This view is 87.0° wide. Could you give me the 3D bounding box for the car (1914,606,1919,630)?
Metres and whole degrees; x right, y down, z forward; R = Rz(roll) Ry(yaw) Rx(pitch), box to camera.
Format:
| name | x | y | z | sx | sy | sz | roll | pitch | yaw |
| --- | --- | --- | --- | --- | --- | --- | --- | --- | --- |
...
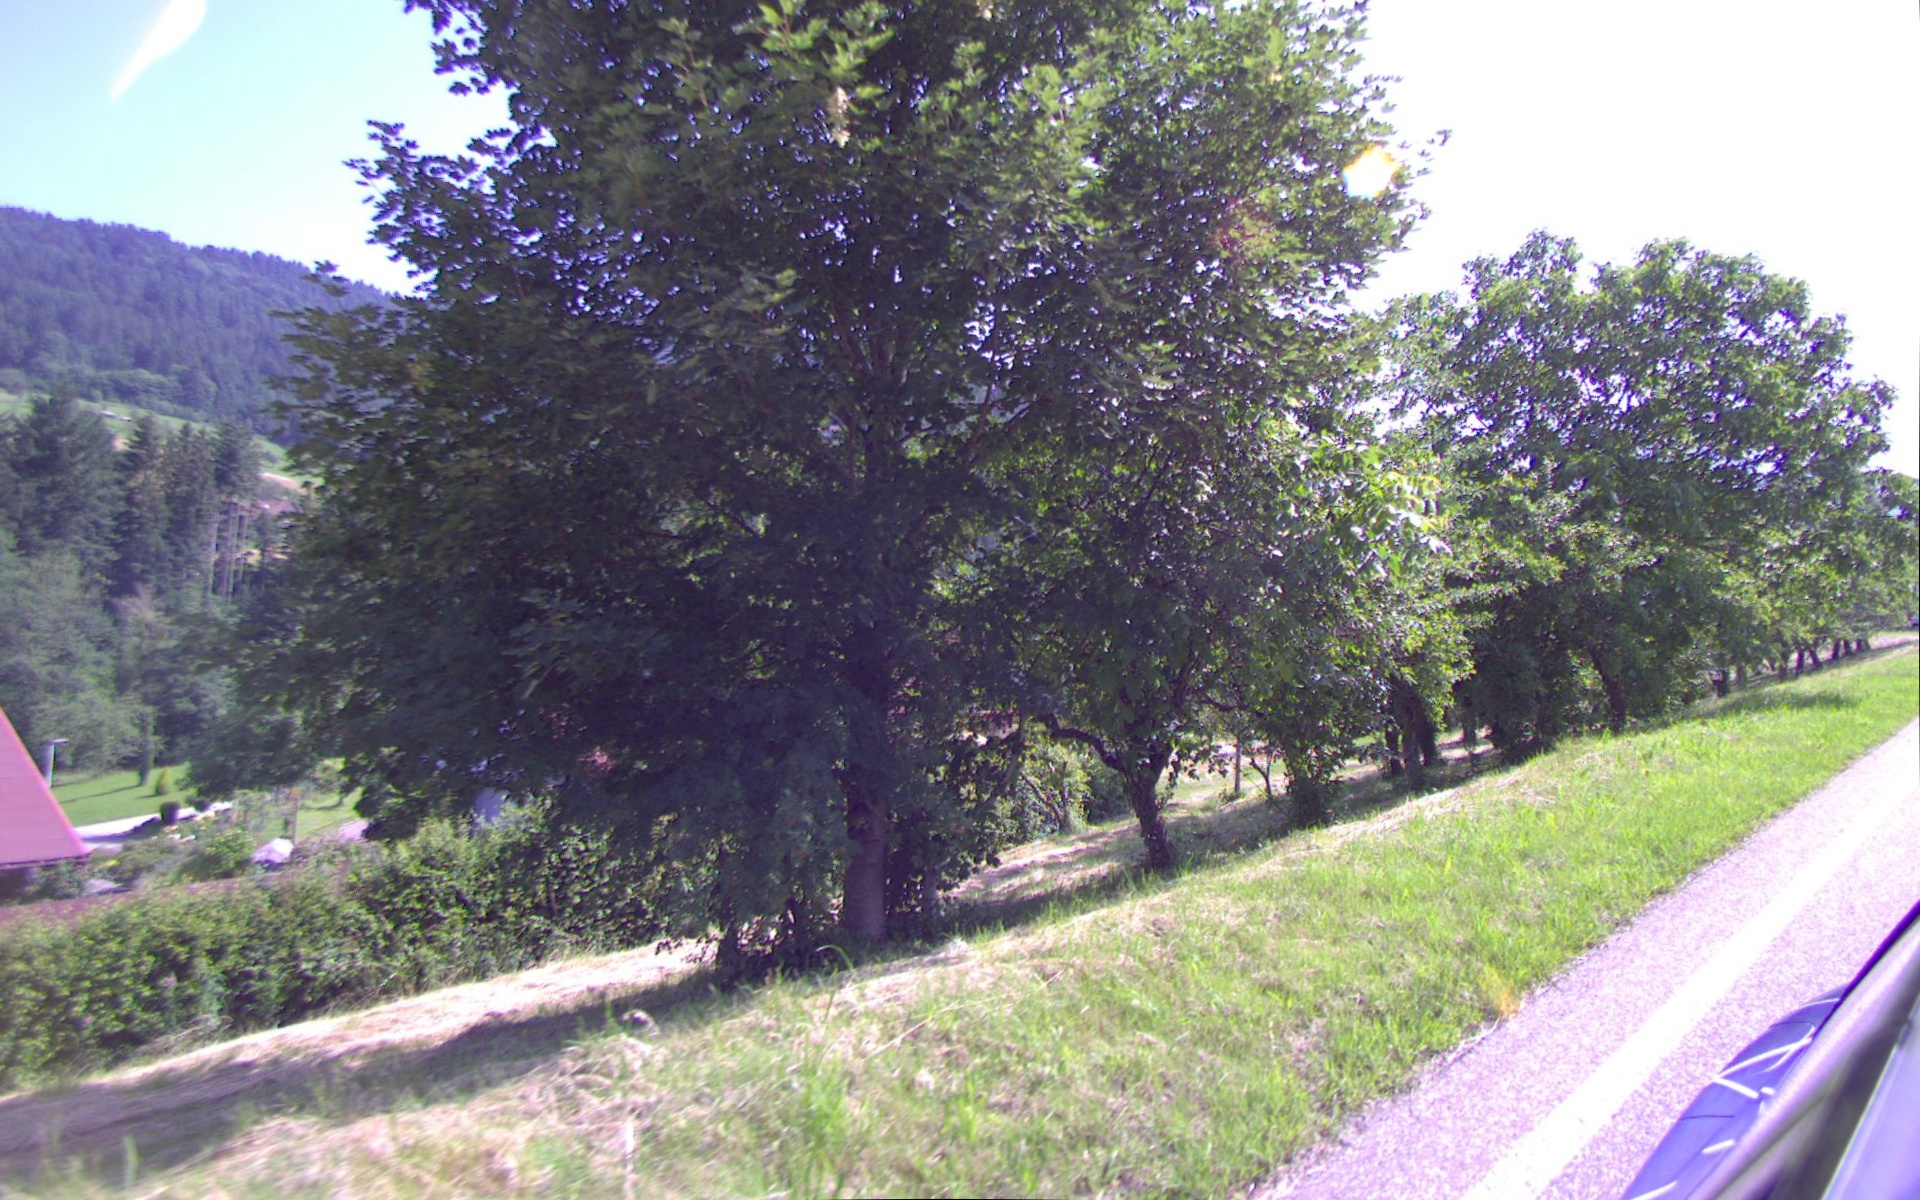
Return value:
| name | x | y | z | sx | sy | sz | roll | pitch | yaw |
| --- | --- | --- | --- | --- | --- | --- | --- | --- | --- |
| car | 63.188 | 1.030 | 63.814 | 1.871 | 1.591 | 4.456 | -2 | -3 | 3 |
